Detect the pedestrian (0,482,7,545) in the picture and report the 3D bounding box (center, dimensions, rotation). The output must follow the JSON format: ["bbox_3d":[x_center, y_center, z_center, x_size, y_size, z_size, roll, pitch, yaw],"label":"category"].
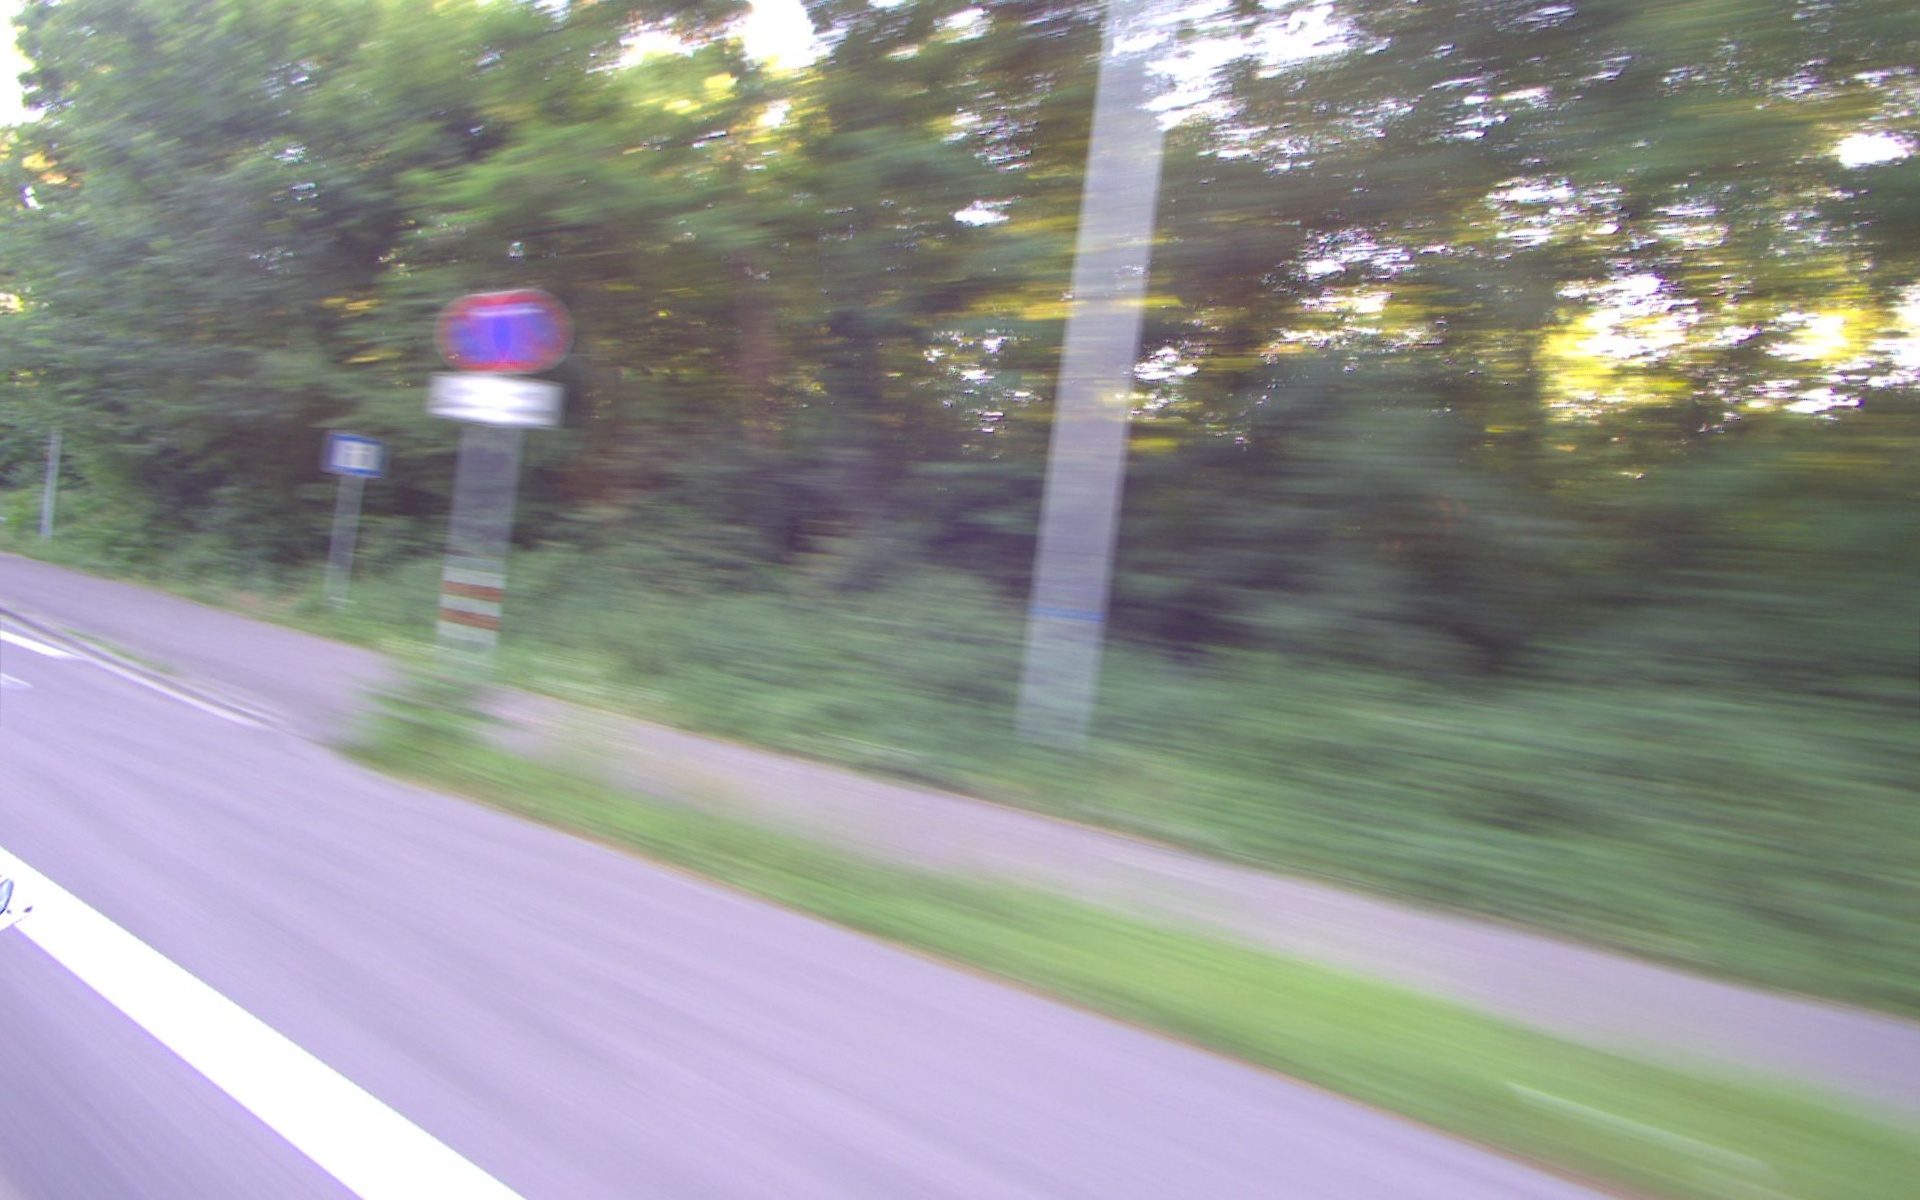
[{"bbox_3d":[-22.402,-1.854,22.835,0.714,1.773,0.839,7,0,32],"label":"pedestrian"}]
